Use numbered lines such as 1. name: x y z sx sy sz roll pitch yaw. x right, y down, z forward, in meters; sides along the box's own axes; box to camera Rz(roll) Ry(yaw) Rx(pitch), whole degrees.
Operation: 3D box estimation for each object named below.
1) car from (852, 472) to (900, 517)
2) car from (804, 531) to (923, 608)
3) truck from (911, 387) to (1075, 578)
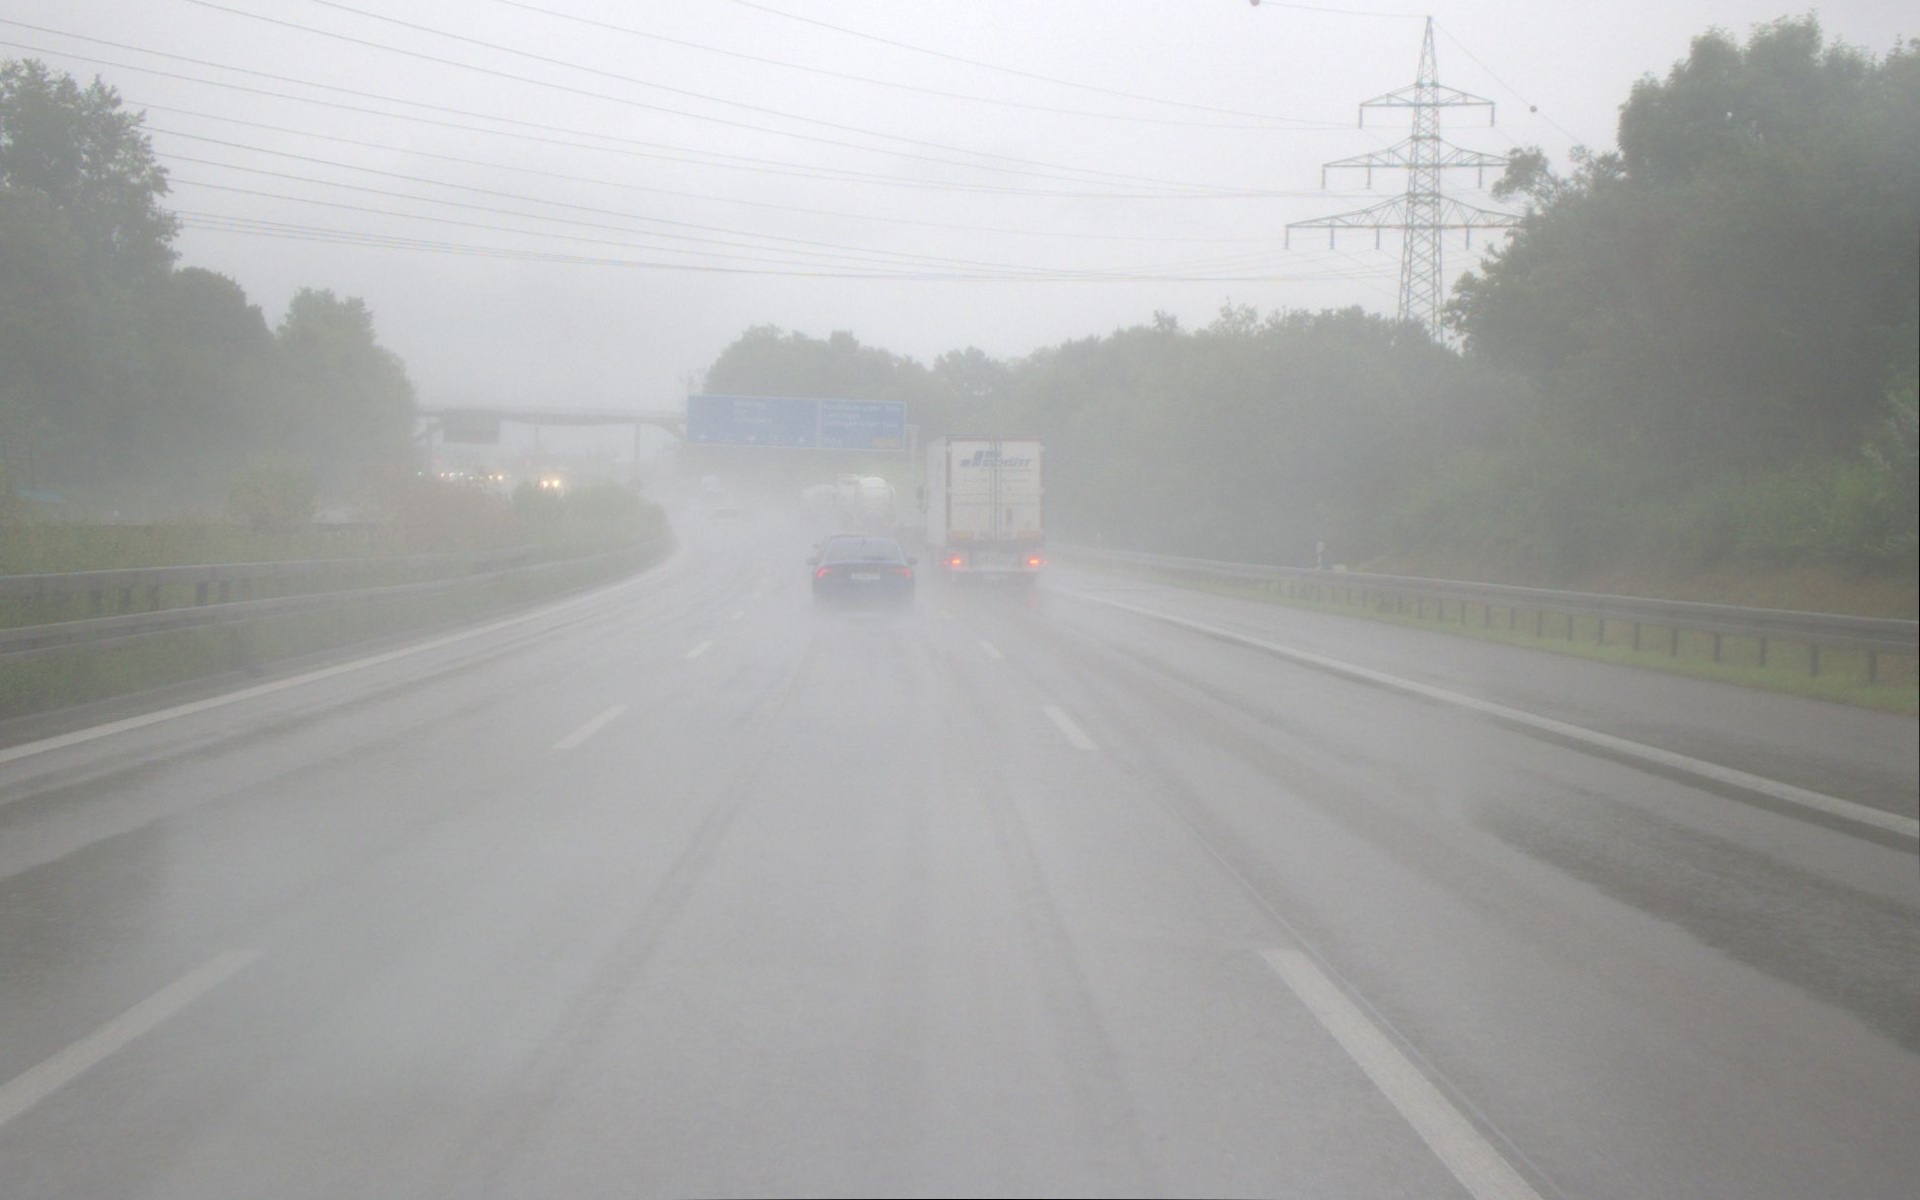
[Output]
1. car: -4.459 -5.576 181.718 2.393 2.264 5.003 2 2 -2
2. car: -1.653 -0.552 60.090 1.749 1.208 4.000 3 1 2
3. truck: 0.935 -3.274 98.240 4.256 4.955 17.341 0 1 1
